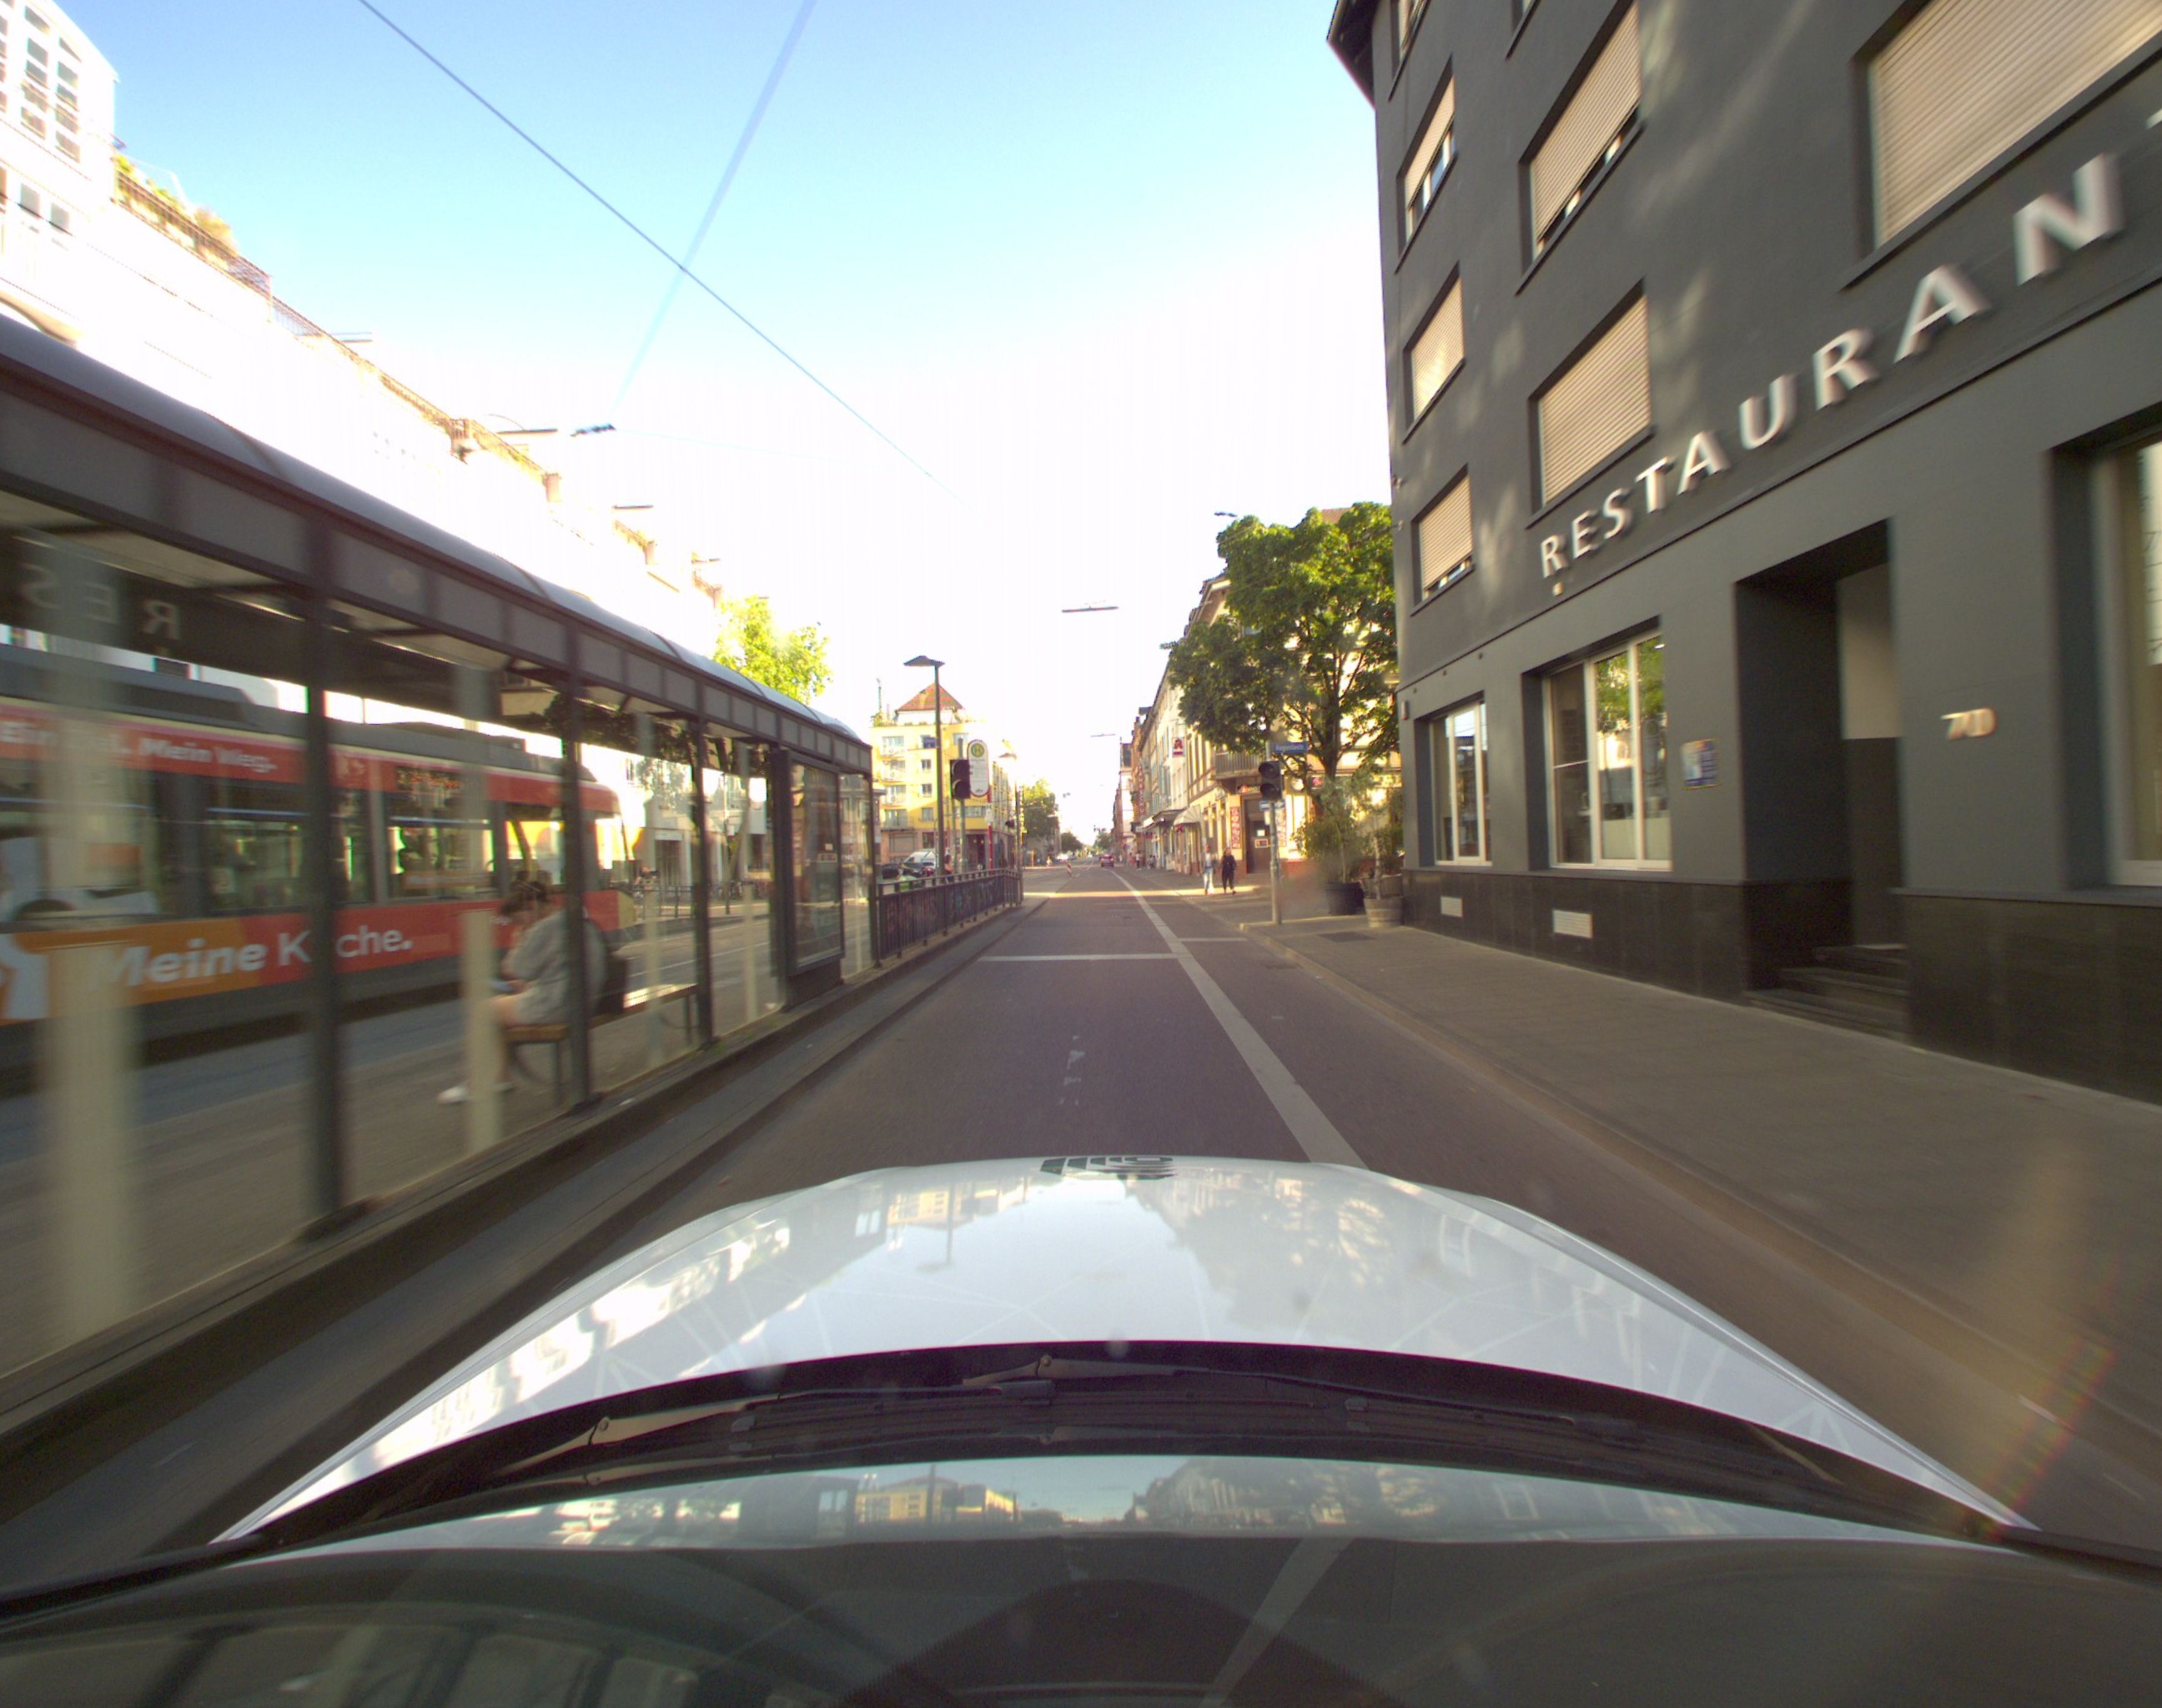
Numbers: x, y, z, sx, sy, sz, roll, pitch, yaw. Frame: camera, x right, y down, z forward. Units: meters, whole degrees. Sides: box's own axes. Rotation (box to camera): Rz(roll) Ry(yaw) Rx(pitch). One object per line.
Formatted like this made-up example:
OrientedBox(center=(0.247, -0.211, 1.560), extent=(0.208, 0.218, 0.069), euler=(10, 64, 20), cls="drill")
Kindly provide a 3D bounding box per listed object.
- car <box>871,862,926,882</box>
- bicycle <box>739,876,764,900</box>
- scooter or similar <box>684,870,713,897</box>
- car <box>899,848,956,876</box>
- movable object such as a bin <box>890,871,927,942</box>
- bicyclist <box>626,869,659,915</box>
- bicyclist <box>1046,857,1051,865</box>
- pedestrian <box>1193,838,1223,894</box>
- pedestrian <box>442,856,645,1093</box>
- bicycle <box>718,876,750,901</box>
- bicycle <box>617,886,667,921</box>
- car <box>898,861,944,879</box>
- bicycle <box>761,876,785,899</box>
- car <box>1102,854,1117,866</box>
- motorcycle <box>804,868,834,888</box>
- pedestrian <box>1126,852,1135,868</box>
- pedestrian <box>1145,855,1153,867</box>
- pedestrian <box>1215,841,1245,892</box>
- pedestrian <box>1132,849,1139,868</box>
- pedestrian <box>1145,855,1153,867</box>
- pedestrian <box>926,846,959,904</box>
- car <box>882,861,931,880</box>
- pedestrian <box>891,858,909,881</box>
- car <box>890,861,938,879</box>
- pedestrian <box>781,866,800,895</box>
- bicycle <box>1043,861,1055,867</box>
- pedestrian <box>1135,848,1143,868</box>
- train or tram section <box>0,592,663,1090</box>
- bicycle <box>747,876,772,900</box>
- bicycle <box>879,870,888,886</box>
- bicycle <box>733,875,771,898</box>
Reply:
OrientedBox(center=(-15.838, 1.529, 70.744), extent=(4.303, 1.510, 1.801), euler=(-2, 0, 2), cls="car")
OrientedBox(center=(-16.562, 1.702, 40.988), extent=(0.496, 1.107, 1.801), euler=(0, 1, 2), cls="bicycle")
OrientedBox(center=(-17.903, 1.373, 38.141), extent=(0.495, 1.193, 1.276), euler=(0, 1, 13), cls="scooter or similar")
OrientedBox(center=(-15.266, 0.762, 81.132), extent=(5.086, 2.575, 2.129), euler=(-2, 0, 2), cls="car")
OrientedBox(center=(-2.427, 0.725, 11.479), extent=(0.351, 0.944, 0.530), euler=(-3, 0, 0), cls="movable object such as a bin")
OrientedBox(center=(-15.793, 1.366, 29.343), extent=(0.726, 1.568, 0.720), euler=(-3, 0, 2), cls="bicyclist")
OrientedBox(center=(-5.546, 1.209, 138.774), extent=(0.704, 1.220, 0.758), euler=(-3, 0, 19), cls="bicyclist")
OrientedBox(center=(4.218, 0.392, 27.072), extent=(0.711, 1.774, 0.772), euler=(-6, 1, -2), cls="pedestrian")
OrientedBox(center=(-2.892, 0.618, 4.428), extent=(0.682, 1.175, 0.537), euler=(-3, 0, 2), cls="pedestrian")
OrientedBox(center=(-17.265, 1.705, 40.577), extent=(0.495, 1.107, 1.807), euler=(0, 1, 13), cls="bicycle")
OrientedBox(center=(-15.775, 1.767, 29.307), extent=(0.726, 1.107, 1.801), euler=(-3, 0, 2), cls="bicycle")
OrientedBox(center=(-15.366, 1.512, 78.550), extent=(3.972, 1.510, 1.801), euler=(-2, 0, 2), cls="car")
OrientedBox(center=(-15.785, 1.693, 41.728), extent=(0.496, 1.107, 1.801), euler=(0, 1, 2), cls="bicycle")
OrientedBox(center=(3.830, 0.786, 111.200), extent=(1.986, 1.449, 4.001), euler=(-2, 0, 1), cls="car")
OrientedBox(center=(-17.391, 1.582, 54.113), extent=(1.791, 1.298, 0.605), euler=(0, 0, -5), cls="motorcycle")
OrientedBox(center=(5.933, 0.727, 97.691), extent=(0.840, 1.918, 0.661), euler=(-3, 0, -1), cls="pedestrian")
OrientedBox(center=(6.386, 0.662, 76.338), extent=(0.687, 1.043, 0.681), euler=(-3, 0, 5), cls="pedestrian")
OrientedBox(center=(4.933, 0.410, 27.030), extent=(0.711, 1.602, 0.772), euler=(-6, 1, -2), cls="pedestrian")
OrientedBox(center=(5.229, 0.467, 77.816), extent=(0.557, 1.796, 0.652), euler=(-3, 0, 8), cls="pedestrian")
OrientedBox(center=(6.325, 0.655, 75.577), extent=(0.687, 1.043, 0.681), euler=(-3, 0, 5), cls="pedestrian")
OrientedBox(center=(-4.261, 0.632, 25.077), extent=(0.867, 1.714, 0.787), euler=(-1, 1, -2), cls="pedestrian")
OrientedBox(center=(-15.729, 1.519, 73.441), extent=(3.972, 1.510, 1.801), euler=(-2, 0, 2), cls="car")
OrientedBox(center=(-14.740, 1.248, 66.426), extent=(1.156, 1.815, 0.901), euler=(-2, 0, -33), cls="pedestrian")
OrientedBox(center=(-15.562, 1.517, 76.020), extent=(3.972, 1.510, 1.801), euler=(-2, 0, 2), cls="car")
OrientedBox(center=(-17.288, 1.581, 48.443), extent=(1.019, 1.661, 0.913), euler=(0, 0, -26), cls="pedestrian")
OrientedBox(center=(-5.486, 1.732, 138.760), extent=(1.918, 1.003, 0.758), euler=(-3, 0, 19), cls="bicycle")
OrientedBox(center=(5.415, 0.397, 76.240), extent=(0.645, 1.796, 0.562), euler=(-3, 0, 5), cls="pedestrian")
OrientedBox(center=(-8.975, -0.056, 6.845), extent=(2.875, 3.490, 14.952), euler=(-1, -1, 1), cls="train or tram section")
OrientedBox(center=(-16.138, 1.702, 40.870), extent=(0.496, 1.107, 1.801), euler=(0, 1, 2), cls="bicycle")
OrientedBox(center=(-14.699, 1.787, 60.702), extent=(0.499, 1.107, 1.793), euler=(-3, 0, -11), cls="bicycle")
OrientedBox(center=(-17.058, 1.688, 42.239), extent=(0.494, 1.107, 1.811), euler=(0, 1, 42), cls="bicycle")
